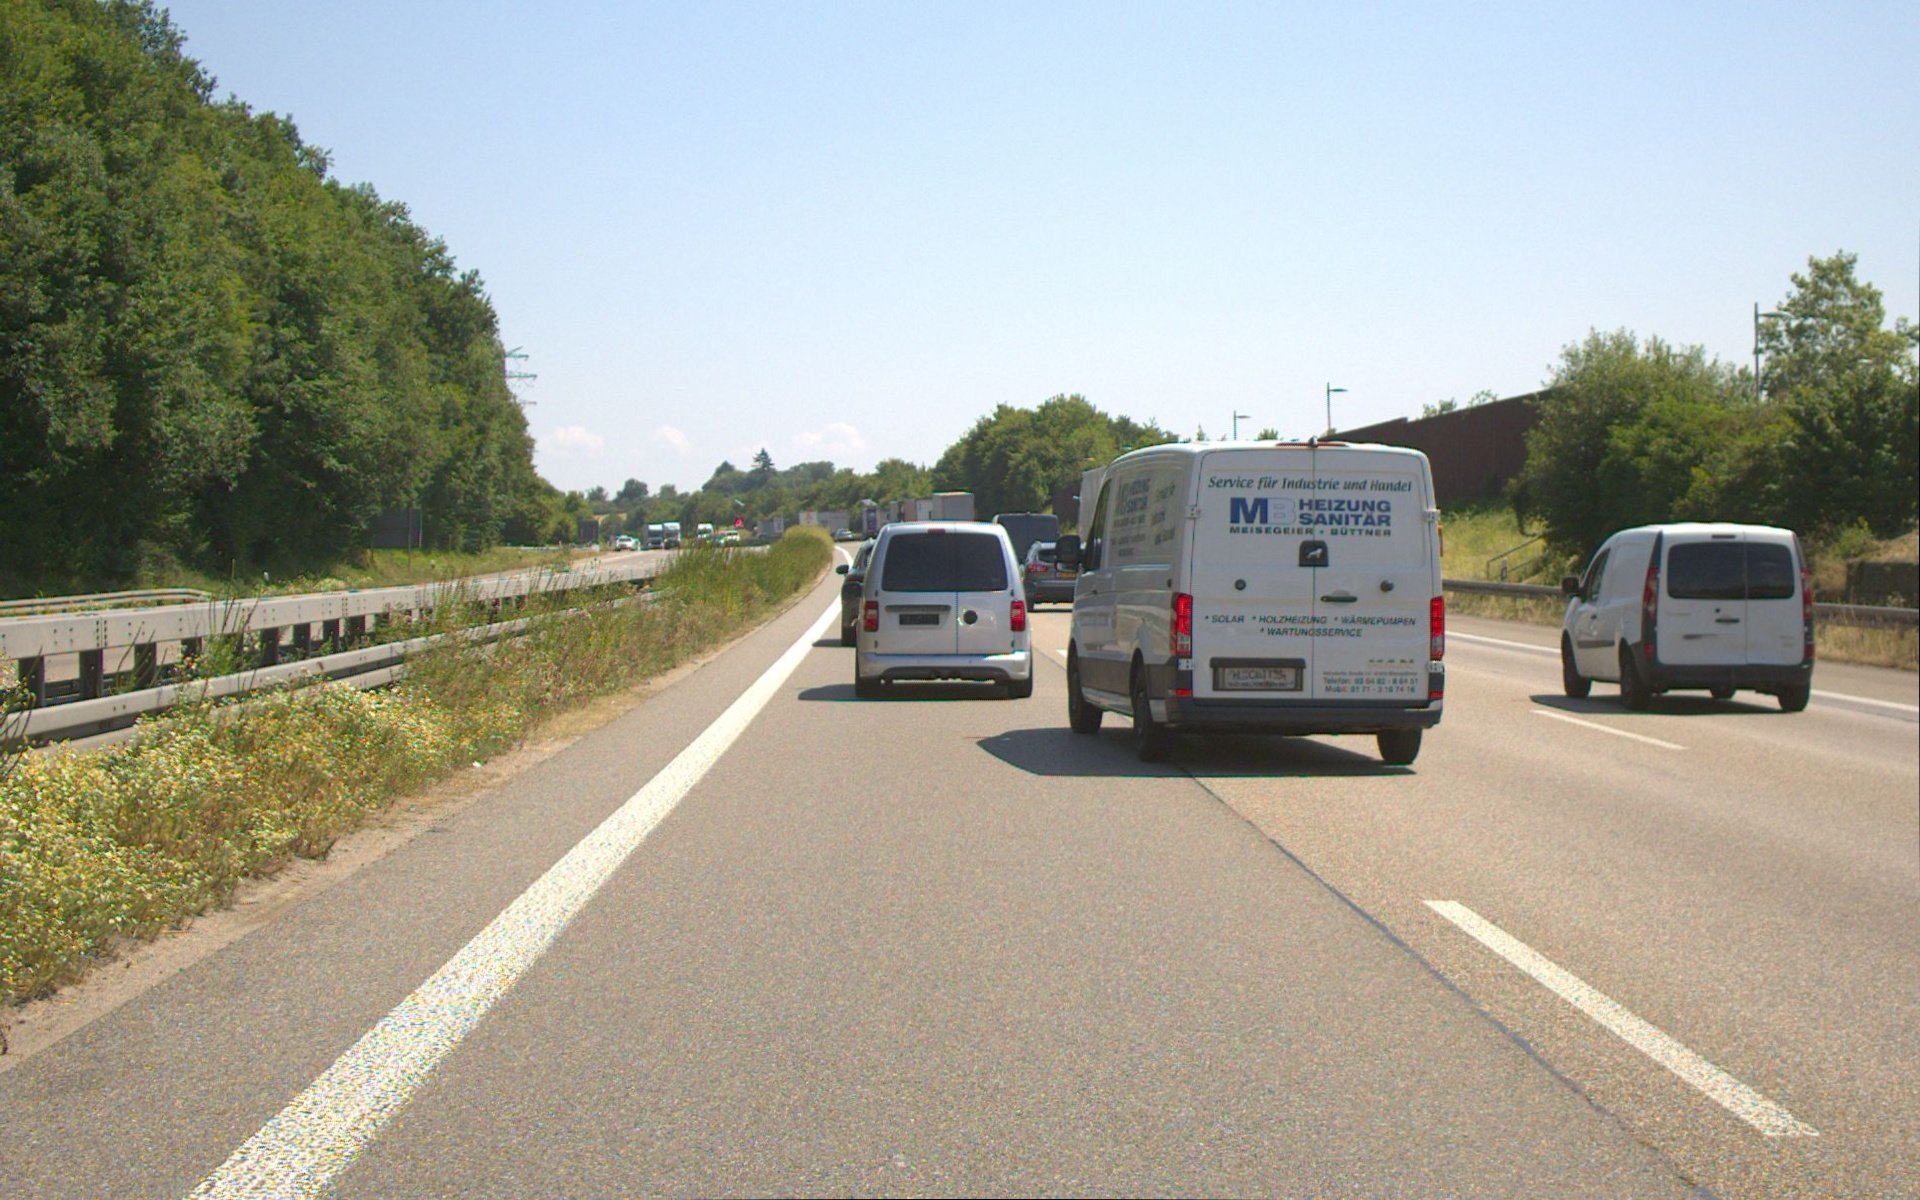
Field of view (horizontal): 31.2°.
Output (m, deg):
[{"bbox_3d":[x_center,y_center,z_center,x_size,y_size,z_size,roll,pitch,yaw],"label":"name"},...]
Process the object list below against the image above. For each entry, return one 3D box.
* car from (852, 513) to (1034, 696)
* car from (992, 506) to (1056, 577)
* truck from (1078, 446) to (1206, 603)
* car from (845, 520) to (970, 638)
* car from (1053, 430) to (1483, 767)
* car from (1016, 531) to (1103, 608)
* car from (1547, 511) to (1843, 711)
[{"bbox_3d":[-0.139,0.025,35.657,1.745,1.758,4.088,-1,1,1],"label":"car"},{"bbox_3d":[1.745,-1.595,94.286,1.674,1.885,4.088,-1,1,1],"label":"car"},{"bbox_3d":[6.059,-2.488,116.706,3.788,4.982,12.518,1,1,1],"label":"truck"},{"bbox_3d":[-0.767,-0.332,52.667,1.745,1.695,4.088,-1,1,1],"label":"car"},{"bbox_3d":[2.147,-0.037,25.746,2.181,2.246,5.364,1,1,-6],"label":"car"},{"bbox_3d":[2.258,-0.702,78.735,1.902,1.666,4.088,-1,1,1],"label":"car"},{"bbox_3d":[7.234,0.082,34.258,1.950,1.831,4.178,-1,1,-1],"label":"car"}]
